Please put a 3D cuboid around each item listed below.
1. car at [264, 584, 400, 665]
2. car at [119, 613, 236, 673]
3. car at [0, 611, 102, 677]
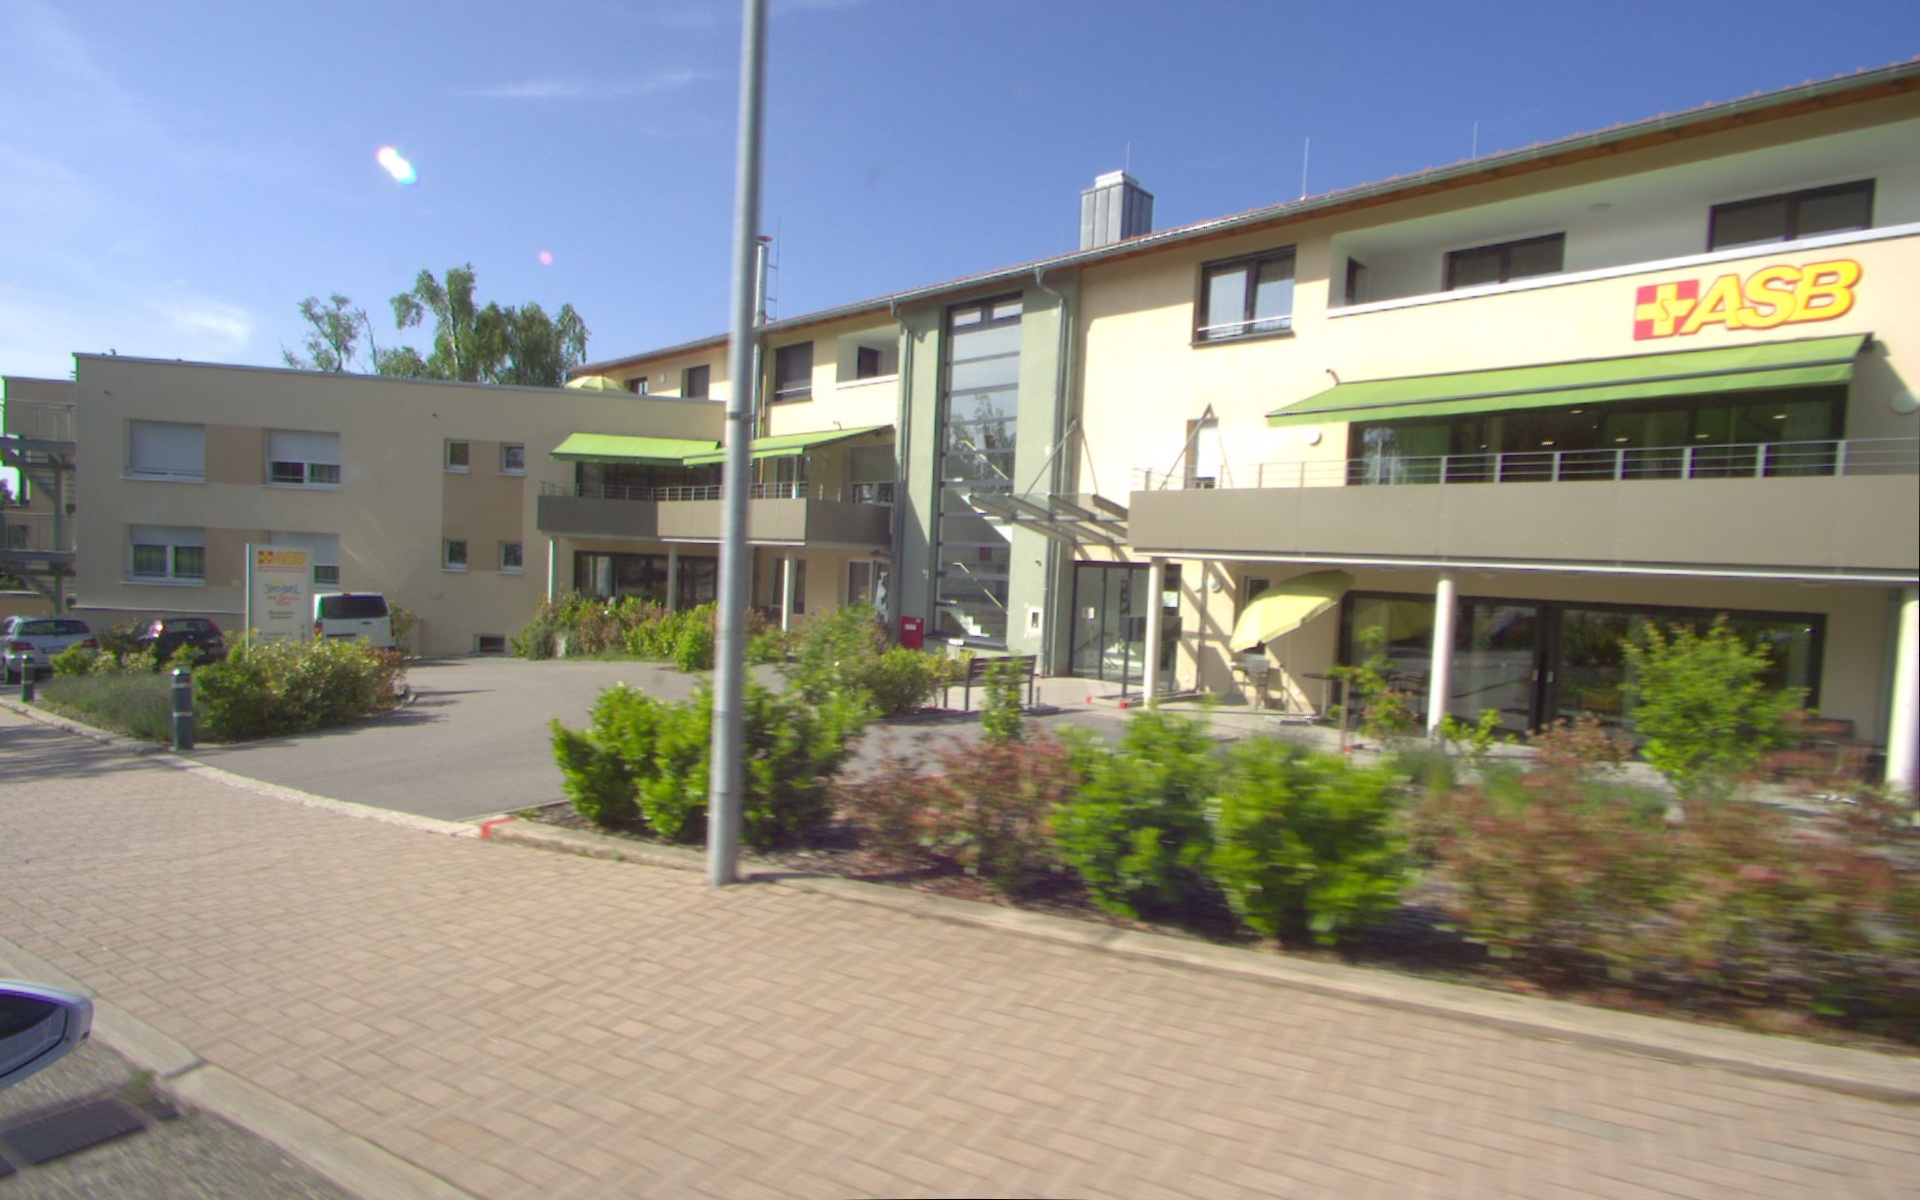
[{"bbox_3d":[-16.648,0.629,26.459,4.680,1.960,1.795,-1,0,41],"label":"car"},{"bbox_3d":[-20.694,1.084,26.434,3.961,1.446,1.700,-1,-1,41],"label":"car"},{"bbox_3d":[-23.215,1.058,25.359,3.961,1.555,1.700,-1,0,41],"label":"car"}]
